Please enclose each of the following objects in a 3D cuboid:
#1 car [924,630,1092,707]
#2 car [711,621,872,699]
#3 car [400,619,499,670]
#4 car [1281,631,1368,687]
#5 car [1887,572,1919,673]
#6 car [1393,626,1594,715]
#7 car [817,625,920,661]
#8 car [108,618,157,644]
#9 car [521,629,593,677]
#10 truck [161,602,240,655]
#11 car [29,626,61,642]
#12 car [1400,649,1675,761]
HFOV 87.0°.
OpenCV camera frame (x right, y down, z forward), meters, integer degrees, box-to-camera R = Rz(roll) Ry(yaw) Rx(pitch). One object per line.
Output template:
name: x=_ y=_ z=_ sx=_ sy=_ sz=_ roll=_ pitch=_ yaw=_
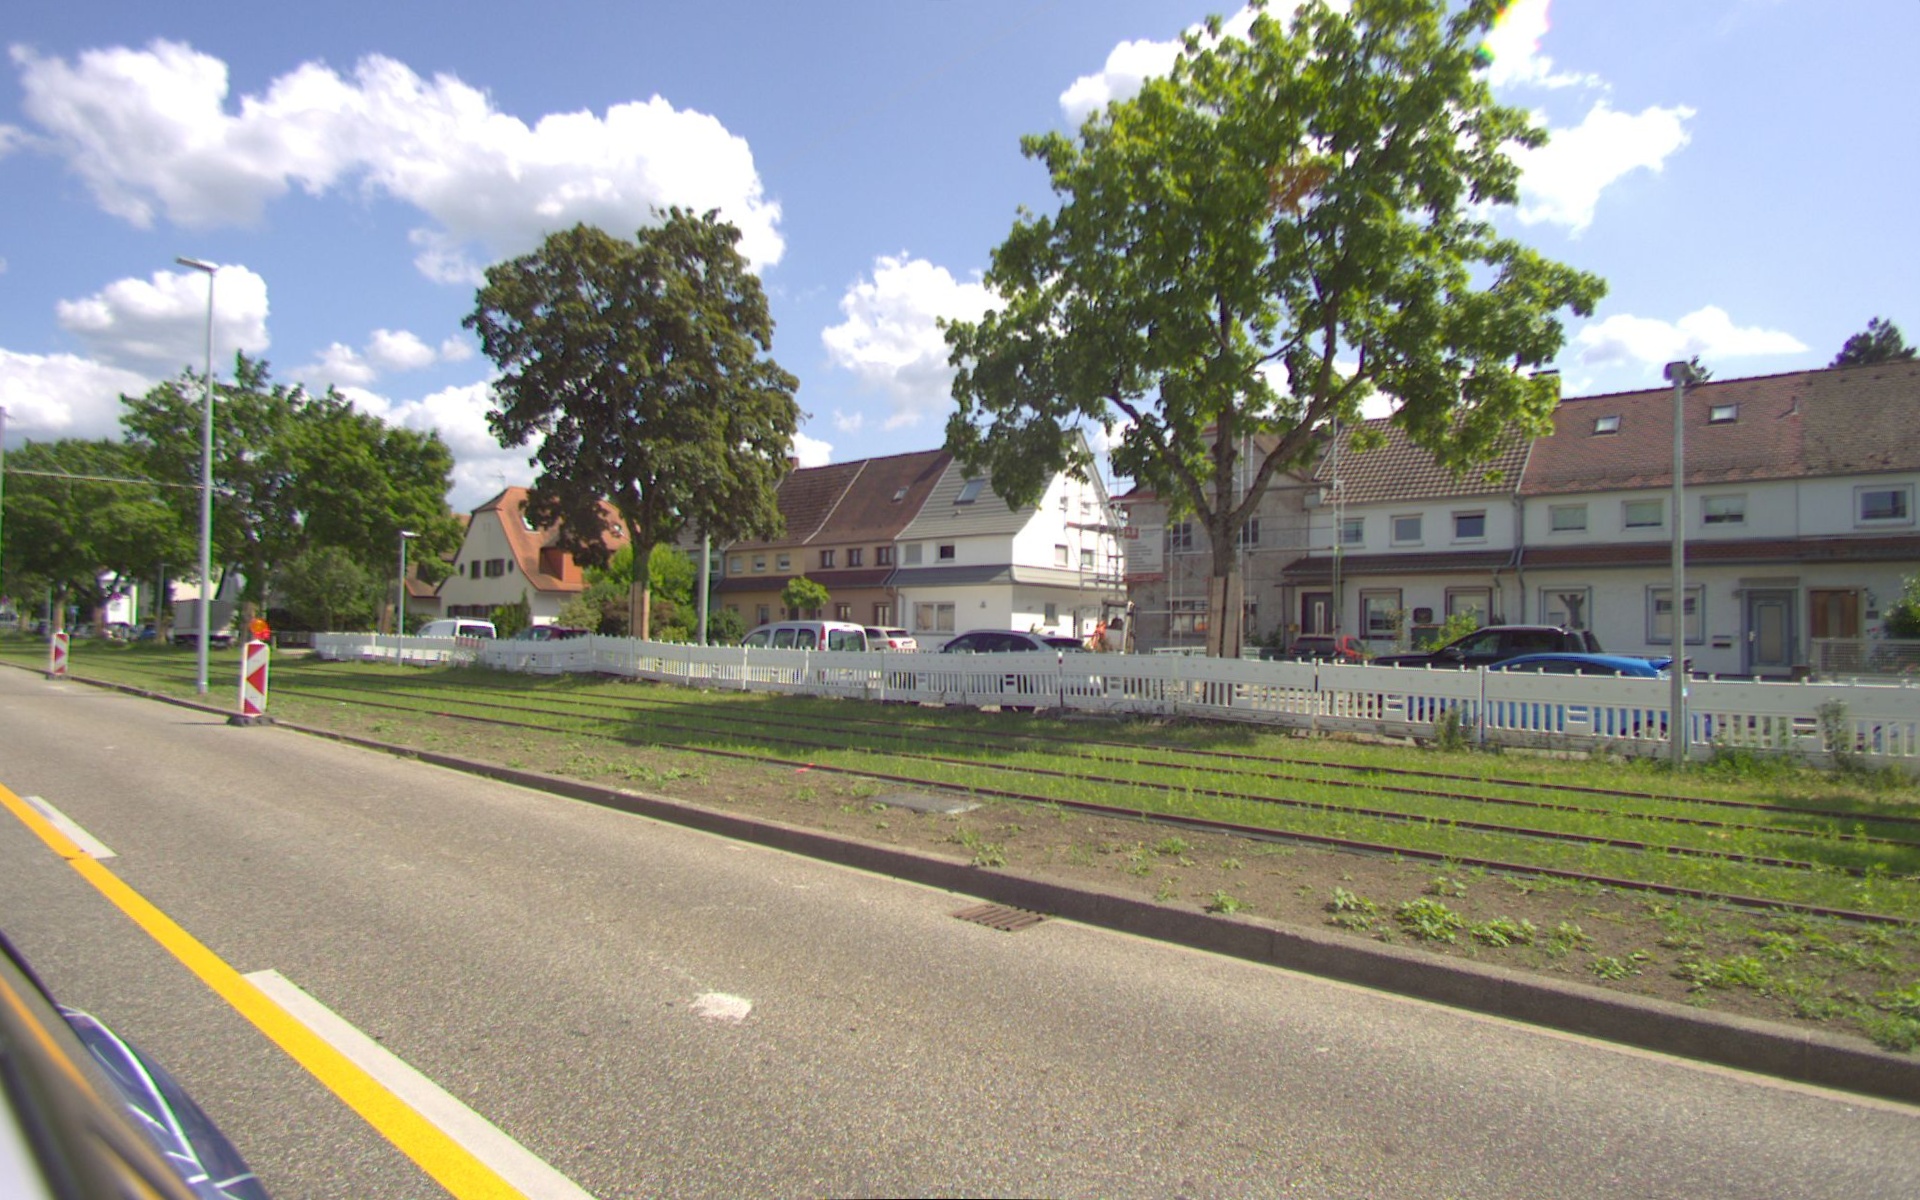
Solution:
car: x=0.902 y=1.310 z=19.795 sx=3.112 sy=1.388 sz=1.336 roll=-2 pitch=-4 yaw=40
car: x=-4.038 y=1.369 z=23.959 sx=3.896 sy=1.664 sz=1.606 roll=0 pitch=-3 yaw=40
car: x=-18.036 y=1.547 z=35.686 sx=3.998 sy=1.638 sz=1.636 roll=0 pitch=-3 yaw=40
car: x=10.031 y=1.582 z=27.796 sx=1.285 sy=1.390 sz=2.776 roll=0 pitch=0 yaw=43
car: x=21.197 y=0.456 z=20.087 sx=3.997 sy=2.029 sz=1.973 roll=0 pitch=0 yaw=40
car: x=9.822 y=1.245 z=18.723 sx=3.091 sy=1.506 sz=1.342 roll=-1 pitch=-3 yaw=40
car: x=-3.590 y=1.673 z=39.391 sx=4.117 sy=1.285 sz=1.518 roll=0 pitch=-3 yaw=40
car: x=-51.531 y=1.888 z=63.010 sx=3.928 sy=1.524 sz=1.651 roll=0 pitch=0 yaw=40
car: x=-12.158 y=1.571 z=30.499 sx=2.449 sy=1.358 sz=1.060 roll=-1 pitch=-3 yaw=44
truck: x=-42.825 y=1.524 z=56.994 sx=5.947 sy=2.826 sz=2.341 roll=0 pitch=0 yaw=41
car: x=-80.835 y=3.017 z=89.364 sx=3.997 sy=1.311 sz=1.616 roll=0 pitch=0 yaw=41
car: x=7.951 y=1.373 z=14.051 sx=3.166 sy=1.335 sz=1.327 roll=-1 pitch=-3 yaw=38
